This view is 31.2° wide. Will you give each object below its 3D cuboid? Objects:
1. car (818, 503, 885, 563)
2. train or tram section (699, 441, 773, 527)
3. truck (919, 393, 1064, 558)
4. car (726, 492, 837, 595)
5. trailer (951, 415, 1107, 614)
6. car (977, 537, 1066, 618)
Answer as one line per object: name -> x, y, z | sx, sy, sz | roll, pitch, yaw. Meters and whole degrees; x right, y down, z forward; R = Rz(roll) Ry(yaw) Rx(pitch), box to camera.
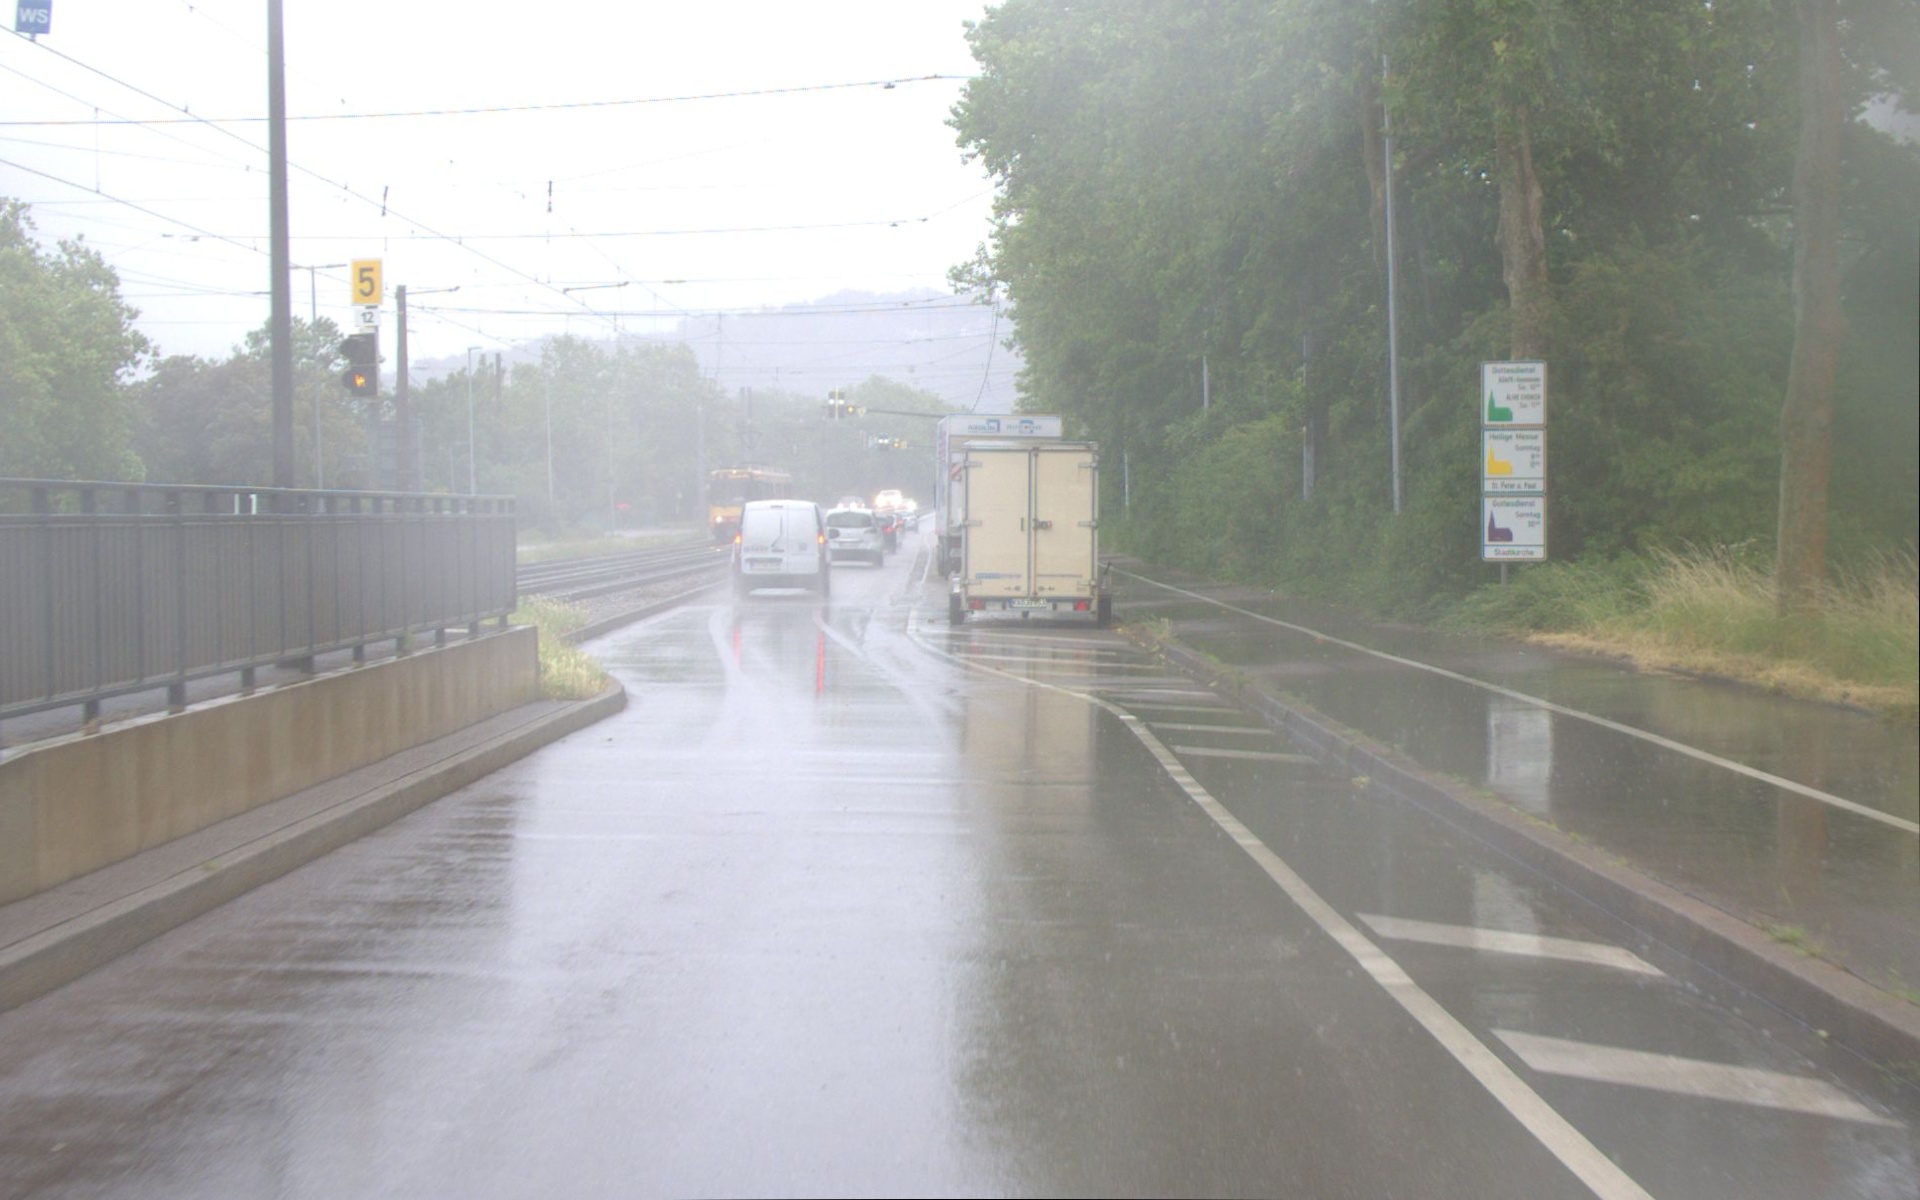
car -> -3.015, -1.878, 96.384 | 1.786, 1.637, 3.968 | 0, 1, 0
train or tram section -> -11.036, -5.720, 170.298 | 2.806, 4.135, 13.020 | 0, 2, 0
truck -> 0.637, -2.879, 81.823 | 2.775, 3.691, 9.854 | 0, 1, -3
car -> -3.349, -1.072, 63.825 | 1.993, 1.842, 4.001 | 0, 2, -4
trailer -> 1.062, -1.240, 50.510 | 2.166, 2.748, 5.676 | 0, 1, 2
car -> 1.250, -0.477, 68.496 | 1.713, 1.523, 4.000 | 0, 2, 2
